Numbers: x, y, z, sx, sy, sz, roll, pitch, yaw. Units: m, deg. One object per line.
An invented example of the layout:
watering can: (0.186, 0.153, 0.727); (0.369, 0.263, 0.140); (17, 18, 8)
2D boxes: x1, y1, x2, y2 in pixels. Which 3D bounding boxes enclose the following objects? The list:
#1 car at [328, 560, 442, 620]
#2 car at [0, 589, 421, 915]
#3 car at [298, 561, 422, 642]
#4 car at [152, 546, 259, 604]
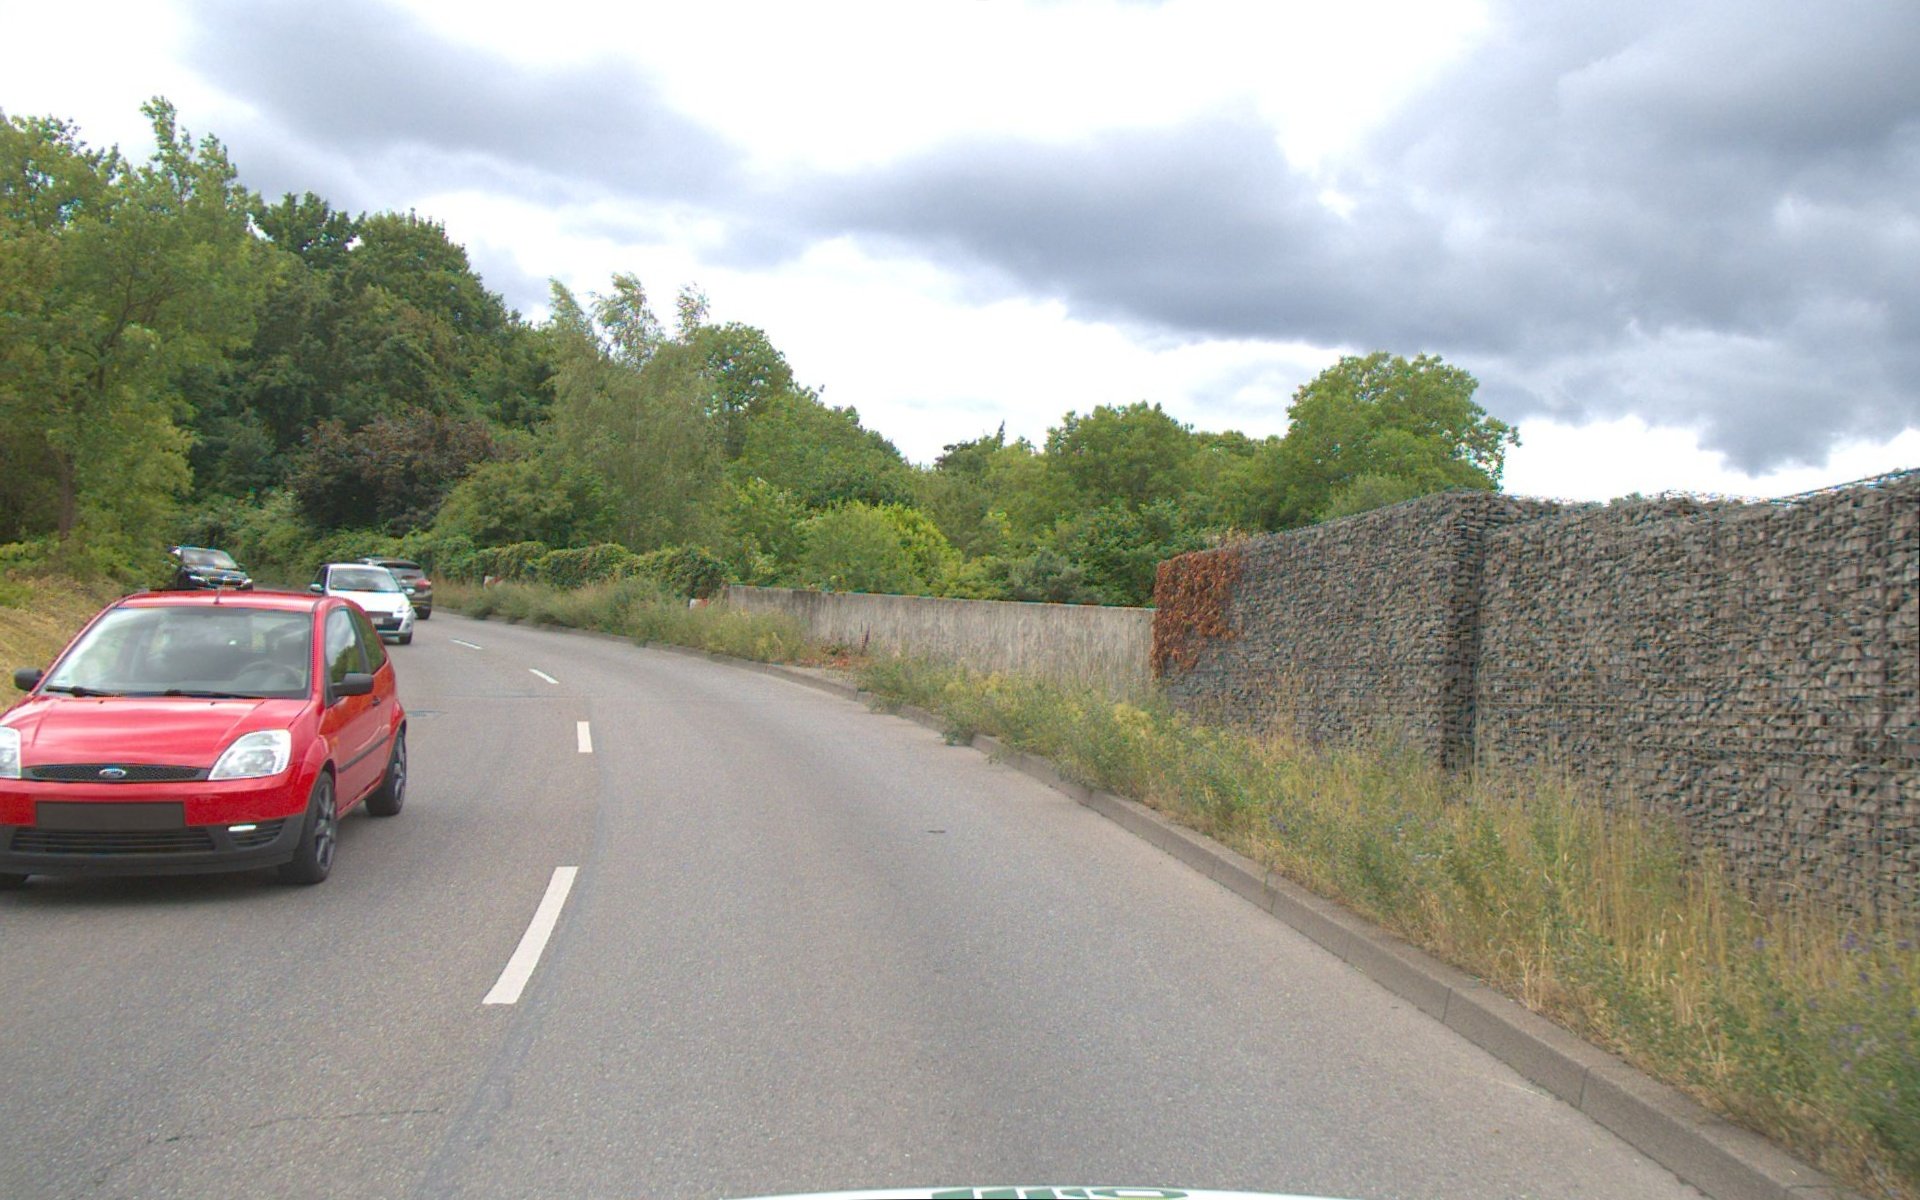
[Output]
car: (-15.227, -0.292, 43.705); (1.825, 1.509, 3.950); (0, 1, -35)
car: (-4.251, 0.686, 9.541); (1.710, 1.441, 3.743); (0, 1, -11)
car: (-12.061, 0.020, 33.111); (1.755, 1.521, 3.877); (1, 0, -29)
car: (-21.041, -0.668, 46.037); (1.725, 1.521, 4.373); (0, 0, -39)
